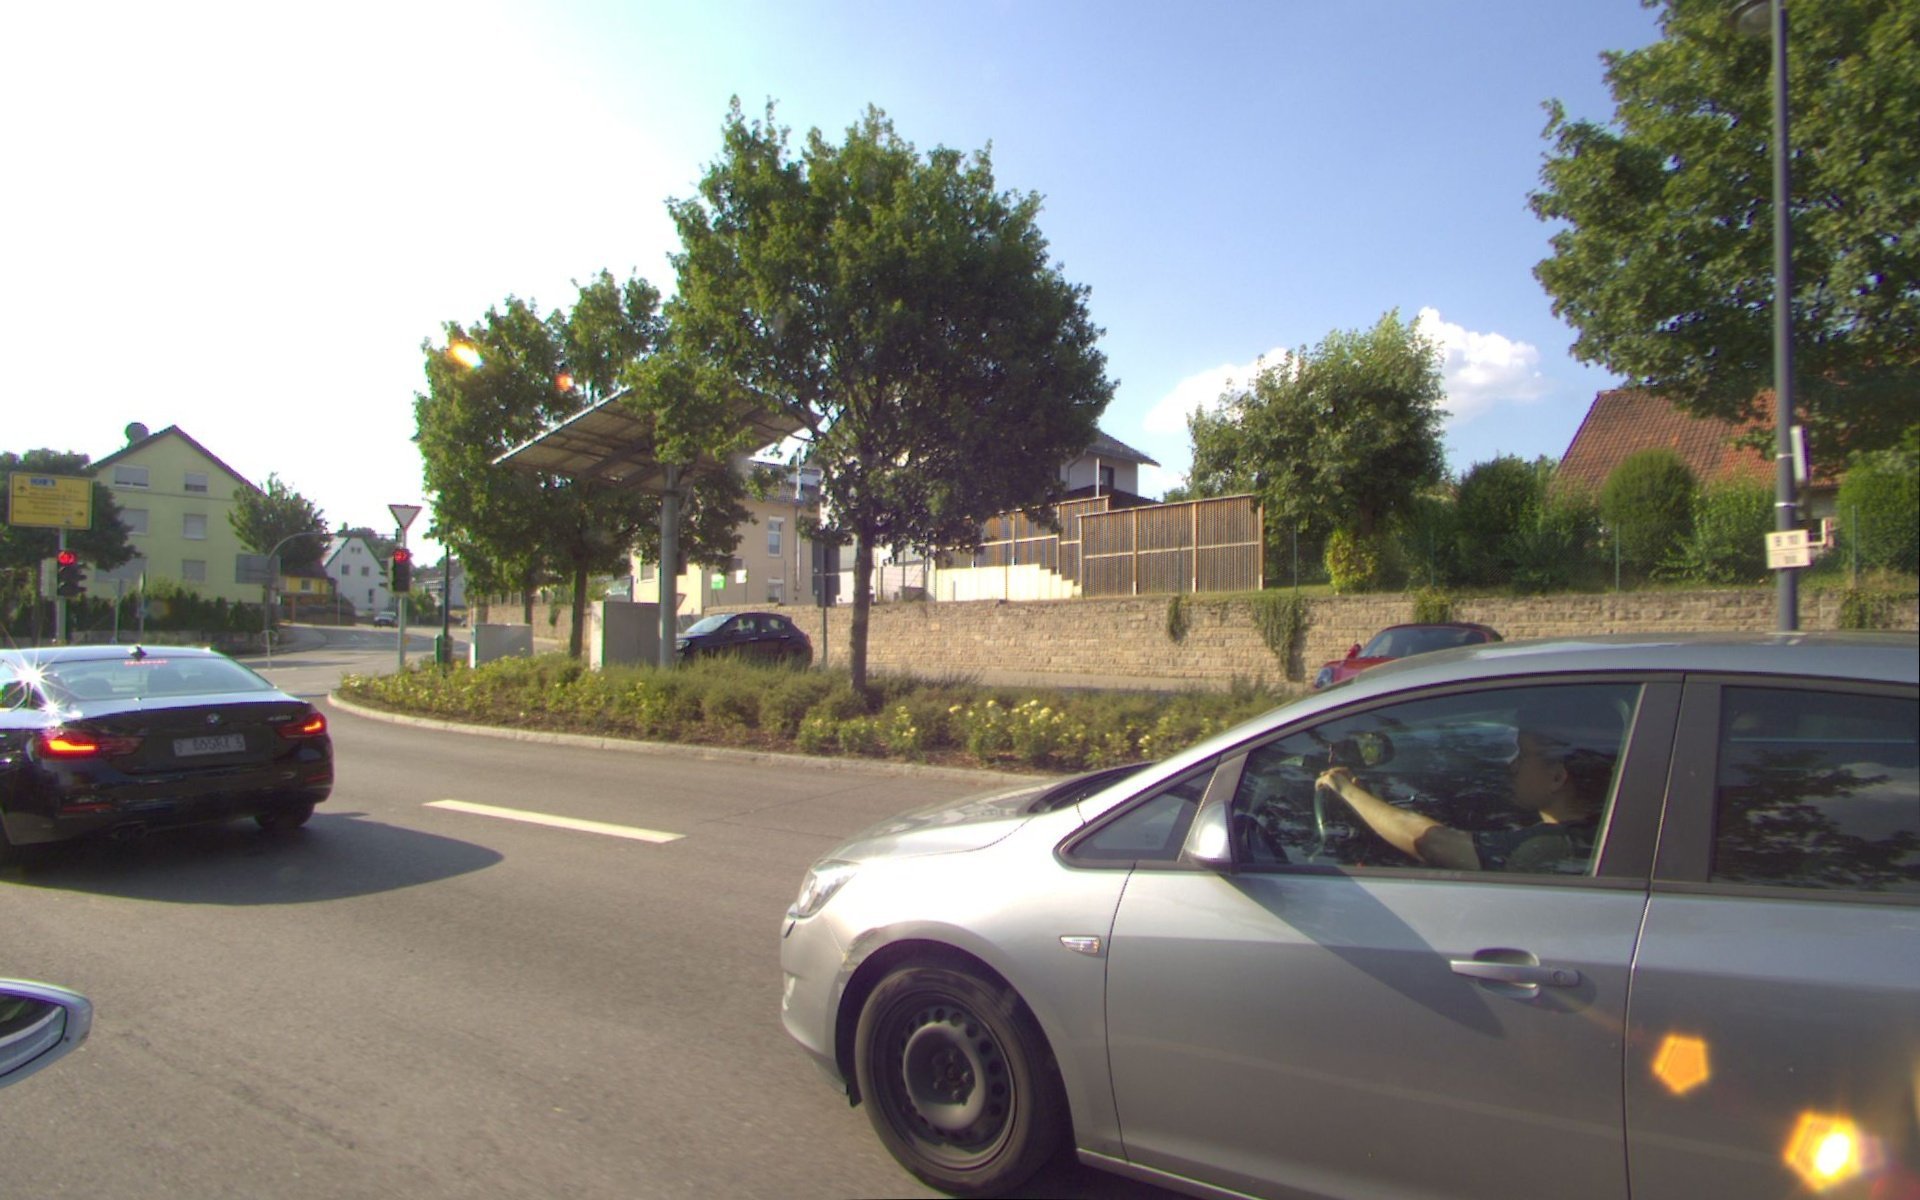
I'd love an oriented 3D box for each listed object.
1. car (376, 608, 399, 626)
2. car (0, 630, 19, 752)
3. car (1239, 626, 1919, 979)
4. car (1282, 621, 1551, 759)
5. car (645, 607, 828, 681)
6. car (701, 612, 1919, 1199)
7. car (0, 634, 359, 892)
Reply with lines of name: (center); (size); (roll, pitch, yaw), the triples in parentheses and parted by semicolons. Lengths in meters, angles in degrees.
car: (-56.053, 1.663, 98.045); (1.765, 1.527, 4.049); (2, 1, -27)
car: (-13.662, 1.101, 12.550); (4.287, 1.465, 1.812); (-1, -2, 34)
car: (3.929, 0.868, 5.163); (4.526, 1.454, 1.677); (-1, -2, 34)
car: (5.359, 0.915, 11.491); (1.832, 1.288, 3.970); (-1, -2, 40)
car: (-5.320, 1.038, 24.112); (1.835, 1.628, 3.964); (-1, -2, 44)
car: (1.420, 0.784, 2.662); (4.107, 1.460, 1.741); (-1, -2, 32)
car: (-6.487, 0.961, 7.460); (4.287, 1.406, 1.812); (-1, -2, 34)
